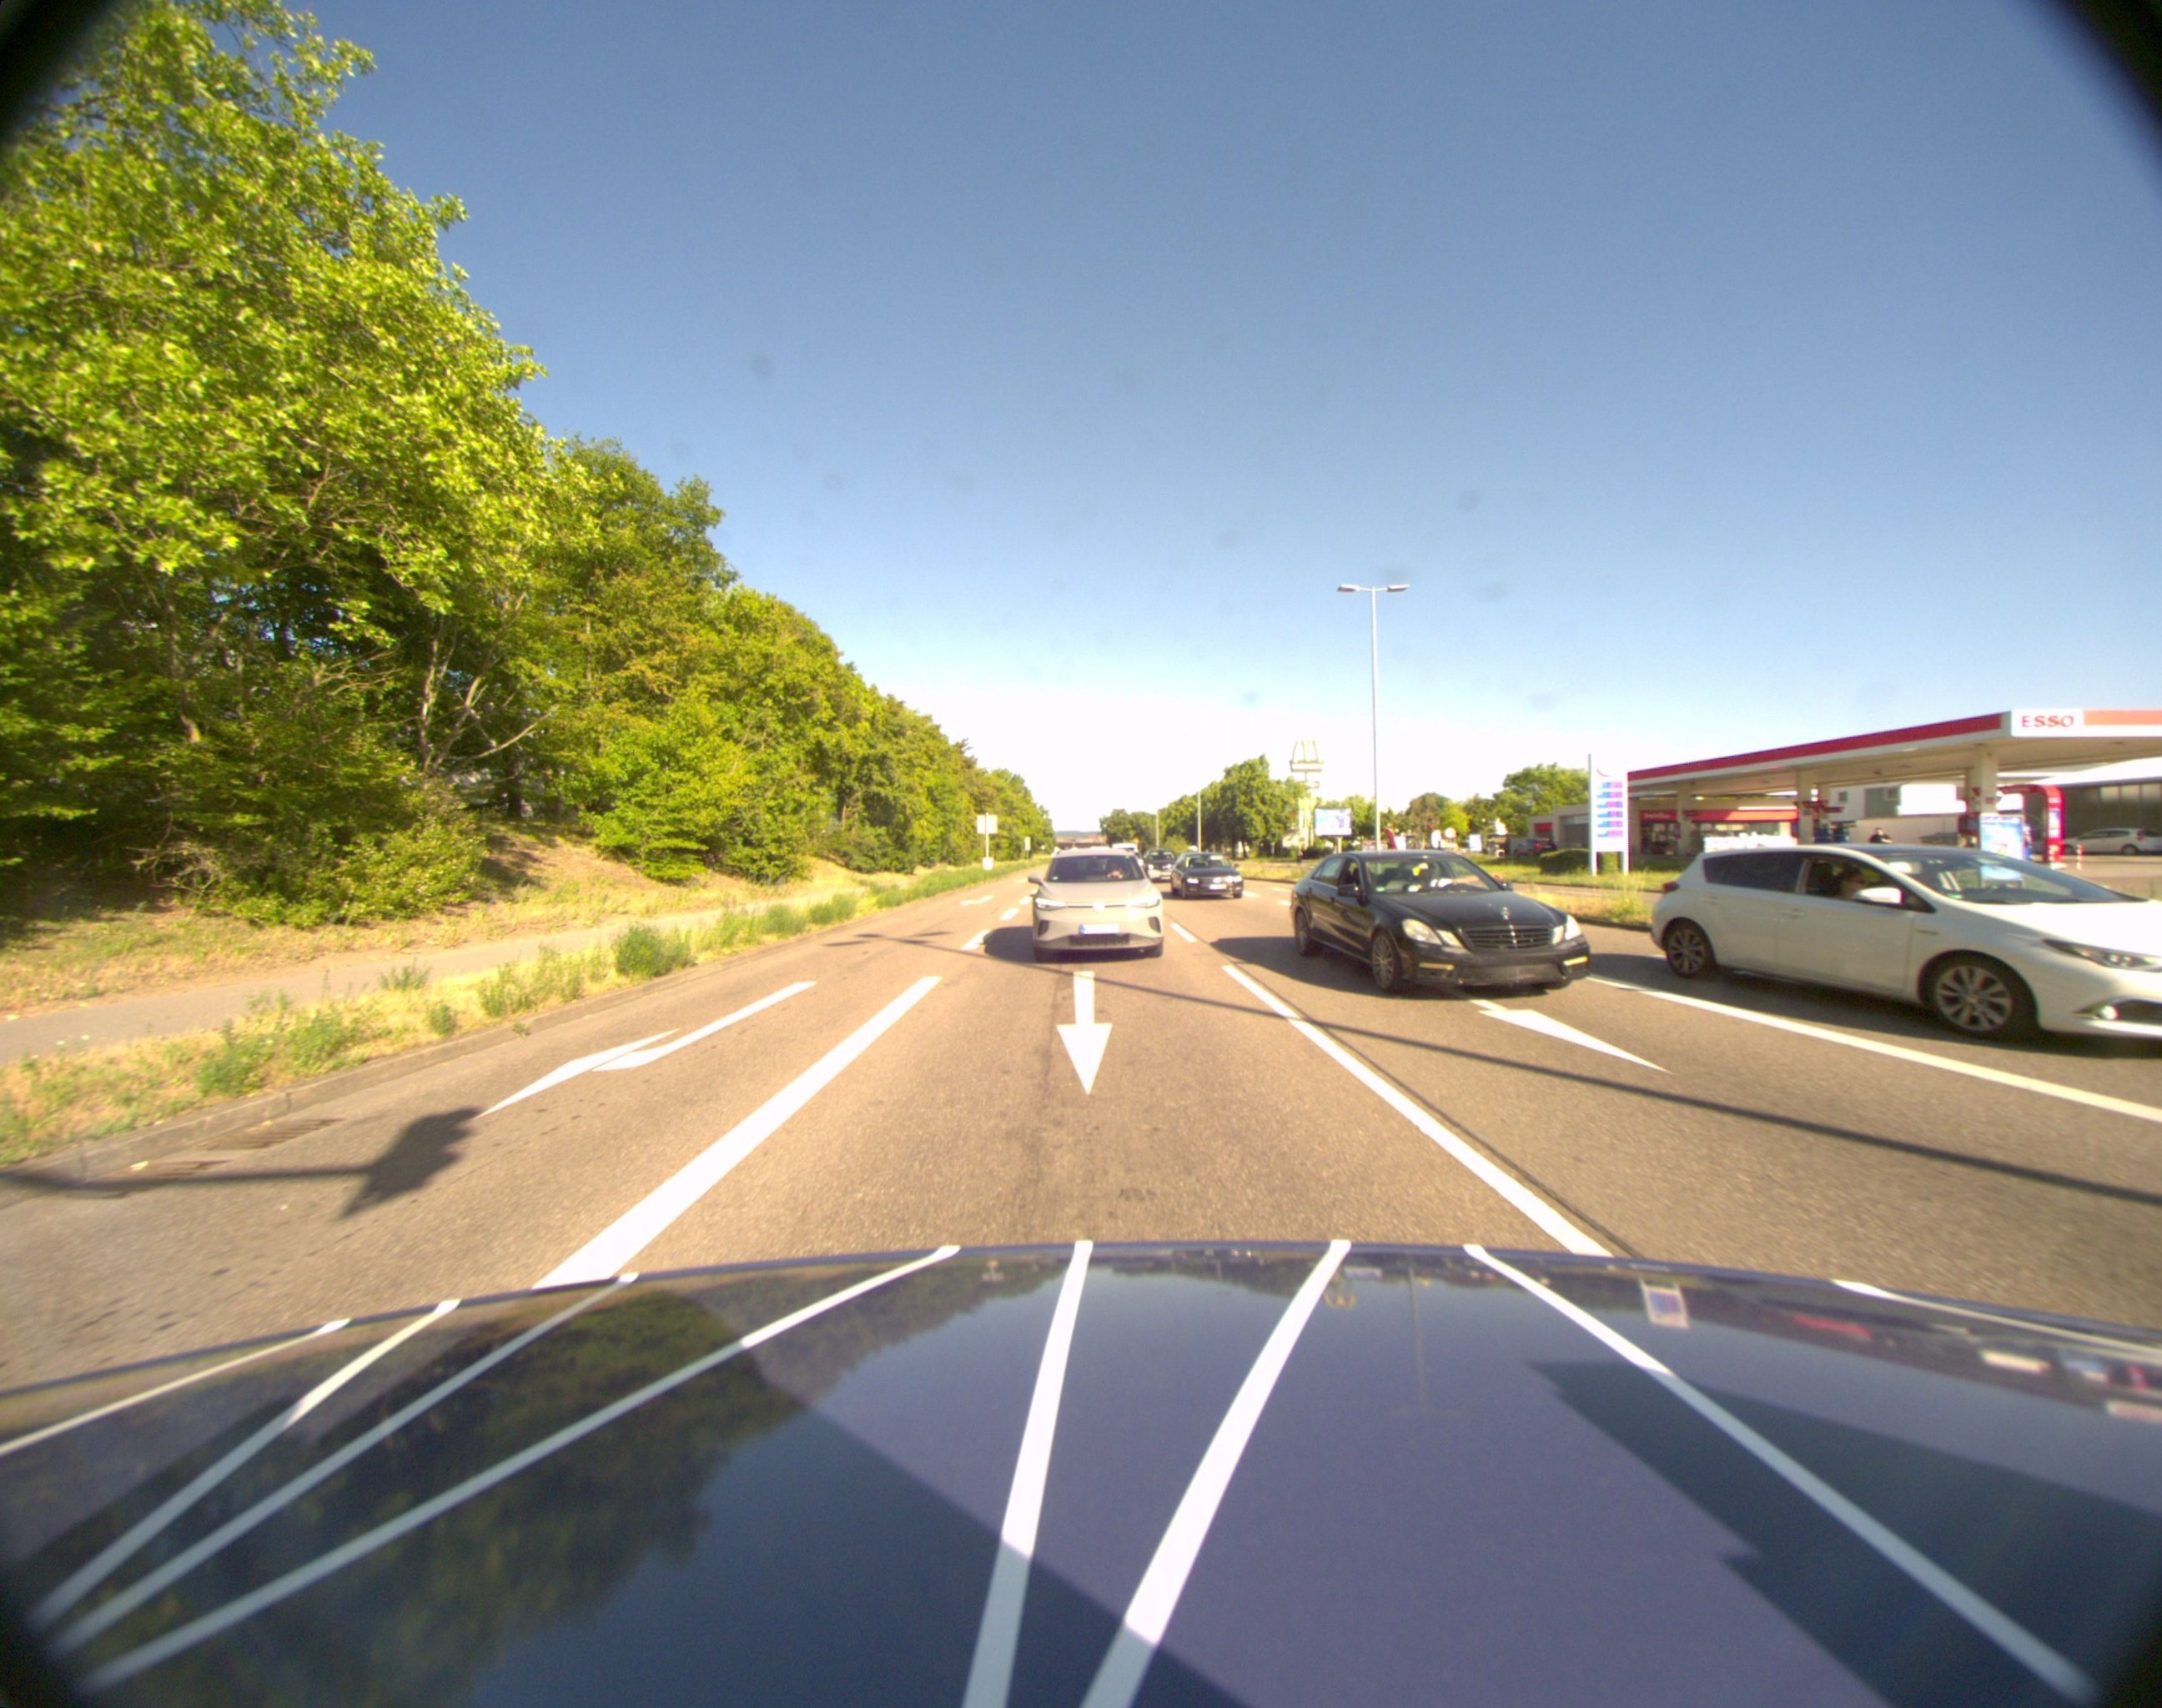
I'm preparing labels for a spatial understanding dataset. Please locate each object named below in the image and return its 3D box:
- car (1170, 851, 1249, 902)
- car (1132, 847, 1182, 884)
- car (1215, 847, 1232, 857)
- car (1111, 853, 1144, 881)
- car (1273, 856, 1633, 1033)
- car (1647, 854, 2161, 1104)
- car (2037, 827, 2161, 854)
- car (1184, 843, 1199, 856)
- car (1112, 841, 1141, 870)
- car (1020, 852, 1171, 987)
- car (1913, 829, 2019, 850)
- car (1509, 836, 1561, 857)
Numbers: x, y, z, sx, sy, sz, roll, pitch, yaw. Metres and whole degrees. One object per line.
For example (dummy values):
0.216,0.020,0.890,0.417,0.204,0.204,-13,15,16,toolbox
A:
4.056,0.671,24.639,1.848,1.445,4.265,-2,0,1,car
3.709,0.512,38.014,1.998,1.674,4.695,-2,1,0,car
20.637,-0.251,110.145,1.699,1.424,4.458,1,1,1,car
3.238,0.874,53.533,1.998,1.779,4.270,-2,1,0,car
3.904,0.805,9.157,1.964,1.474,4.918,-1,0,1,car
7.322,0.753,6.599,1.790,1.447,4.116,-1,0,1,car
56.002,-0.715,41.724,1.772,1.432,4.119,-1,0,-1,car
16.938,-0.713,116.468,1.699,2.064,4.458,1,1,1,car
3.702,0.117,62.909,2.089,2.230,3.999,-2,1,0,car
0.210,0.815,11.602,1.848,1.615,4.265,-2,0,1,car
56.322,-0.914,48.483,1.900,1.220,4.118,1,1,-1,car
37.445,-0.614,62.737,1.762,1.604,4.118,1,1,-1,car
